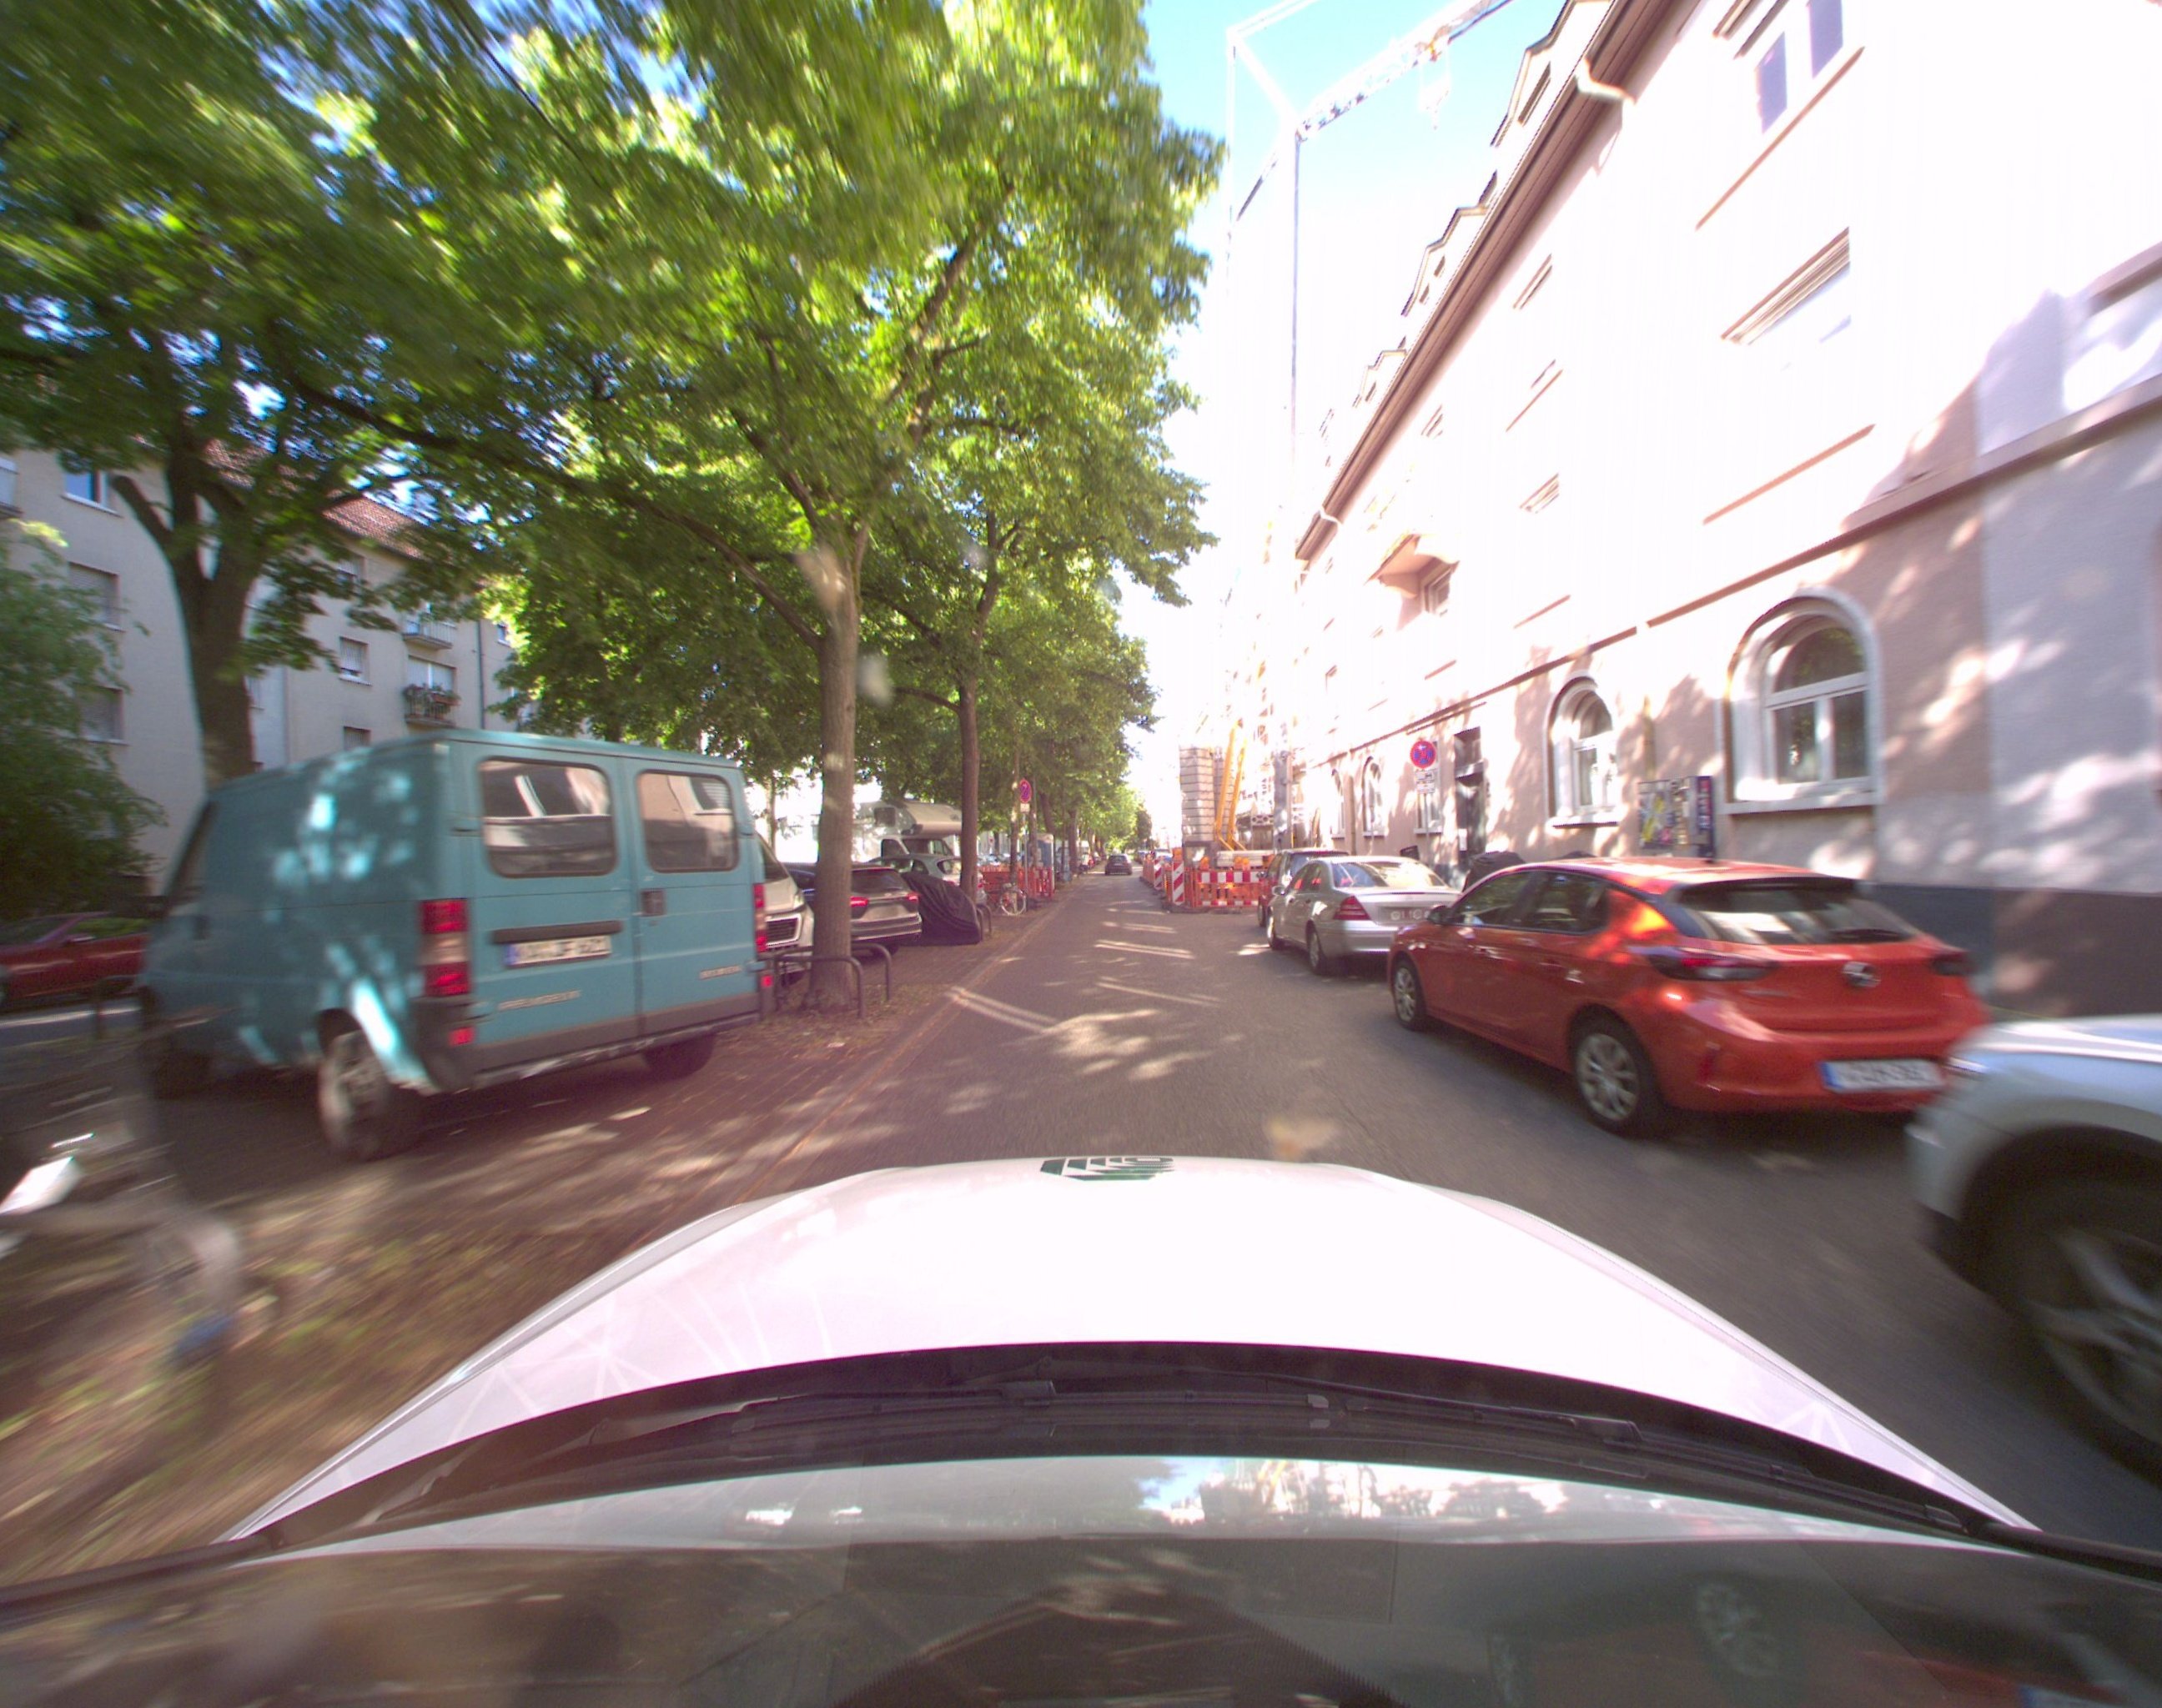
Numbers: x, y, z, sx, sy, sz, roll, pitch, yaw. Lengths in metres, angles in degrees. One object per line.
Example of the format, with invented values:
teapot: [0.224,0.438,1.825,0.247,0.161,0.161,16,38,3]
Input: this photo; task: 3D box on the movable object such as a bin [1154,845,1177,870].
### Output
movable object such as a bin: [8.089,0.303,78.119,1.790,2.233,4.608,-2,0,1]

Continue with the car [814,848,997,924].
car: [-4.167,0.735,19.258,3.916,1.629,1.834,-2,0,28]

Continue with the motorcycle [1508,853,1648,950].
motorcycle: [6.743,0.597,11.164,0.547,1.193,1.831,-2,0,-9]

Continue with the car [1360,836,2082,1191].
car: [3.578,0.702,5.643,1.786,1.523,3.961,-2,0,-2]

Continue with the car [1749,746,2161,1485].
car: [3.276,0.573,0.633,1.809,1.674,4.676,-2,0,3]

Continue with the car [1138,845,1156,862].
car: [7.416,-0.044,91.799,1.790,1.800,3.587,-2,0,1]

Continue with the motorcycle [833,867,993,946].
motorcycle: [-2.876,0.893,14.003,2.534,1.258,0.765,-2,0,10]

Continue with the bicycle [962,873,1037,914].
bicycle: [-2.047,0.993,20.431,1.879,1.006,0.433,-2,0,26]

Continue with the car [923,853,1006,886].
car: [-6.272,0.840,43.670,3.948,1.607,2.013,-2,0,30]

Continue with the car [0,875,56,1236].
car: [-6.368,0.869,3.691,3.947,1.431,1.732,-2,0,33]

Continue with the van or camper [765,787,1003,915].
van or camper: [-5.727,-0.001,23.283,6.592,3.240,2.511,-2,0,31]

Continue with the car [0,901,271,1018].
car: [-14.526,1.470,11.883,1.611,1.274,3.670,-2,0,3]

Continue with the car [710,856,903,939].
car: [-5.713,0.847,16.789,3.914,1.474,1.835,-2,0,37]

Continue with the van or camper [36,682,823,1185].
van or camper: [-4.789,0.430,5.873,5.447,2.275,2.234,-2,0,26]

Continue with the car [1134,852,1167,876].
car: [4.364,0.612,51.498,1.790,1.385,3.587,-2,0,1]

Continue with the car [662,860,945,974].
car: [-4.187,0.868,12.194,3.915,1.414,1.834,-2,0,30]

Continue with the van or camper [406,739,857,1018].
van or camper: [-5.763,0.297,10.162,5.811,2.637,2.269,-2,0,32]

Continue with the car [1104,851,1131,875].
car: [2.498,0.614,56.199,1.790,1.503,3.587,-2,0,1]

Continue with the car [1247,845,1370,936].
car: [4.193,0.614,15.410,1.586,1.530,2.781,-1,0,1]

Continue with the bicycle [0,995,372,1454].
bicycle: [-3.066,1.005,2.128,1.729,1.006,0.507,-2,0,-28]

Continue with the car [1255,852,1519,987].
car: [3.787,0.698,11.051,1.986,1.409,4.502,-1,0,1]

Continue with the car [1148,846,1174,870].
car: [6.426,0.277,65.620,1.790,1.800,3.587,-2,0,1]

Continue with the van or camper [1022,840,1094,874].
van or camper: [-1.848,0.251,64.874,5.280,2.474,2.309,-2,0,34]

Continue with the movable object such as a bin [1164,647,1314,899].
movable object such as a bin: [4.611,-2.160,23.760,3.445,6.759,2.383,-2,0,35]
